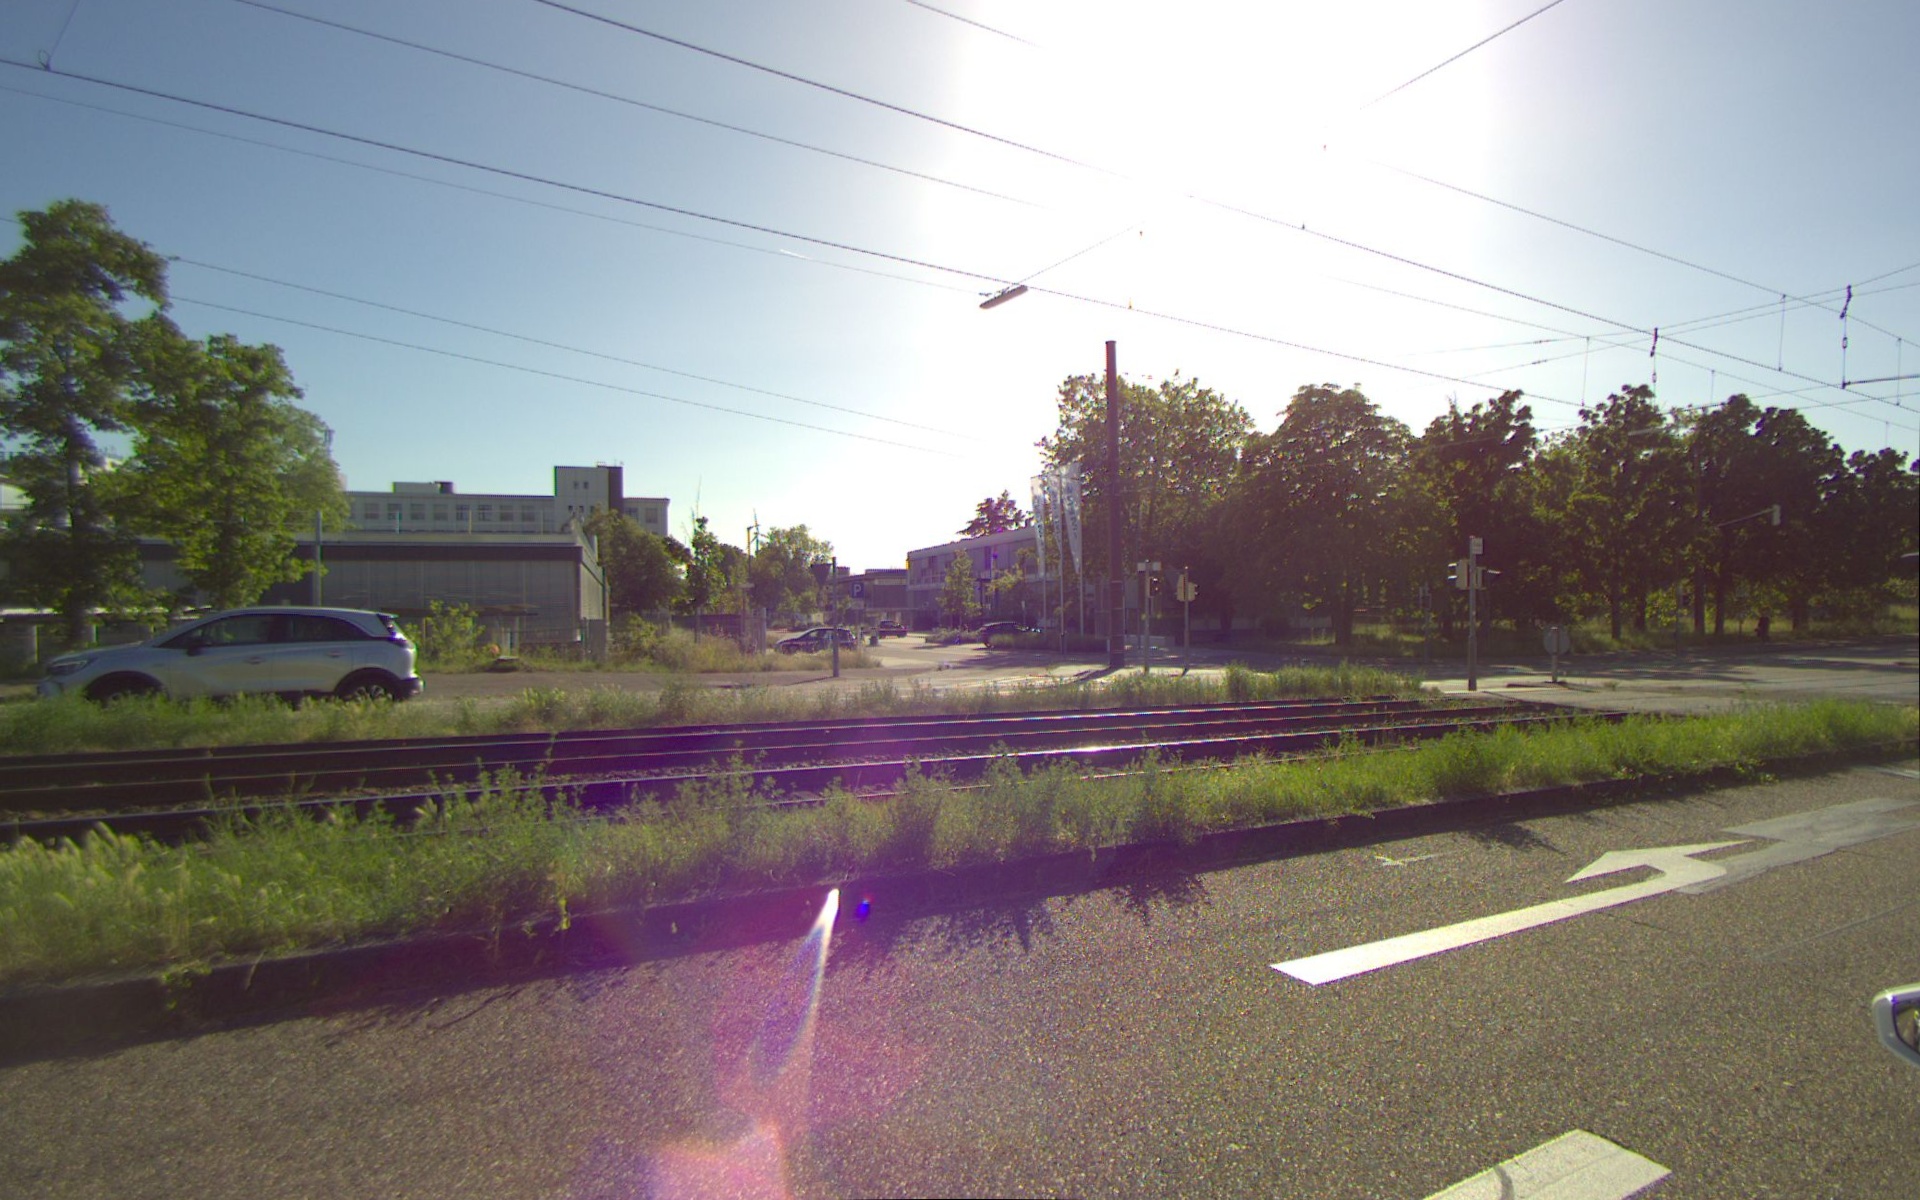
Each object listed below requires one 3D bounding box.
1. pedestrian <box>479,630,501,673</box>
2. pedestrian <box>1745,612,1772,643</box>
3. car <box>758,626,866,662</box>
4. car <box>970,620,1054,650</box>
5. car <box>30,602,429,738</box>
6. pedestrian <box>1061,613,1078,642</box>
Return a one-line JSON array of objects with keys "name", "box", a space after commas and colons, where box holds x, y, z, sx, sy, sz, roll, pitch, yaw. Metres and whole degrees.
[{"name": "pedestrian", "box": [-14.724, 1.607, 31.462, 0.432, 1.318, 0.441, 0, 0, 18]}, {"name": "pedestrian", "box": [44.882, 1.531, 56.479, 0.919, 1.757, 0.761, 0, 0, -2]}, {"name": "car", "box": [-7.669, 2.258, 51.920, 5.210, 1.772, 2.164, 1, 0, -19]}, {"name": "car", "box": [3.210, 2.138, 61.715, 4.768, 1.751, 2.041, 1, 0, -21]}, {"name": "car", "box": [-9.653, 0.840, 13.634, 4.116, 1.578, 1.842, 1, 0, -36]}, {"name": "pedestrian", "box": [7.046, 1.760, 64.498, 0.807, 1.811, 0.950, 0, 0, -16]}]
